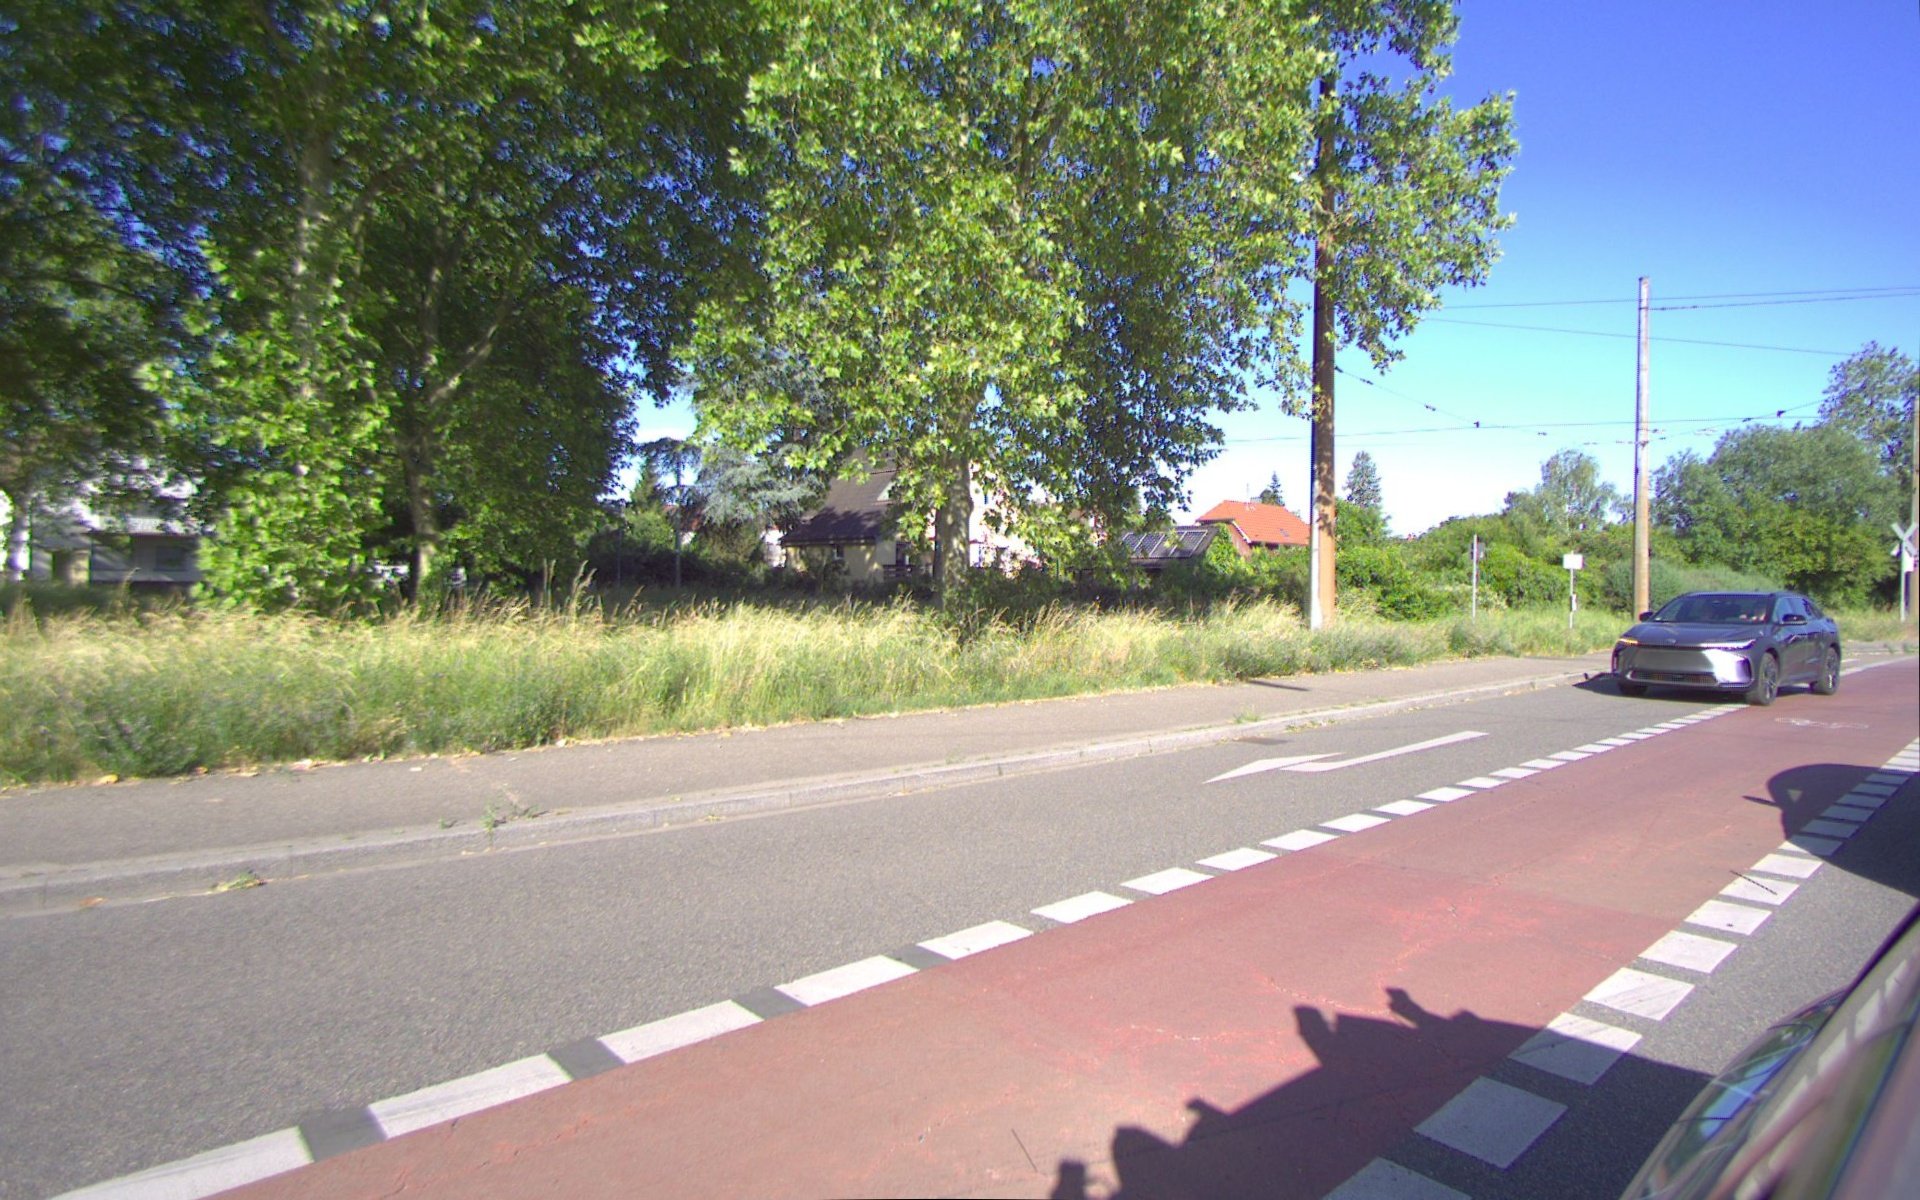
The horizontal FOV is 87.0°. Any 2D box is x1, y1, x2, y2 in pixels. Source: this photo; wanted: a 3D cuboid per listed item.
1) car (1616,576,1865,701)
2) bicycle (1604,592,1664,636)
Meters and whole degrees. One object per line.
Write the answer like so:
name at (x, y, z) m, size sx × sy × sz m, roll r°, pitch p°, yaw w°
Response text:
car at (11.985, 0.503, 15.449) m, size 4.412 × 1.651 × 1.772 m, roll 0°, pitch 1°, yaw -35°
bicycle at (18.258, 0.359, 27.473) m, size 0.360 × 1.149 × 2.093 m, roll 1°, pitch 1°, yaw 4°
